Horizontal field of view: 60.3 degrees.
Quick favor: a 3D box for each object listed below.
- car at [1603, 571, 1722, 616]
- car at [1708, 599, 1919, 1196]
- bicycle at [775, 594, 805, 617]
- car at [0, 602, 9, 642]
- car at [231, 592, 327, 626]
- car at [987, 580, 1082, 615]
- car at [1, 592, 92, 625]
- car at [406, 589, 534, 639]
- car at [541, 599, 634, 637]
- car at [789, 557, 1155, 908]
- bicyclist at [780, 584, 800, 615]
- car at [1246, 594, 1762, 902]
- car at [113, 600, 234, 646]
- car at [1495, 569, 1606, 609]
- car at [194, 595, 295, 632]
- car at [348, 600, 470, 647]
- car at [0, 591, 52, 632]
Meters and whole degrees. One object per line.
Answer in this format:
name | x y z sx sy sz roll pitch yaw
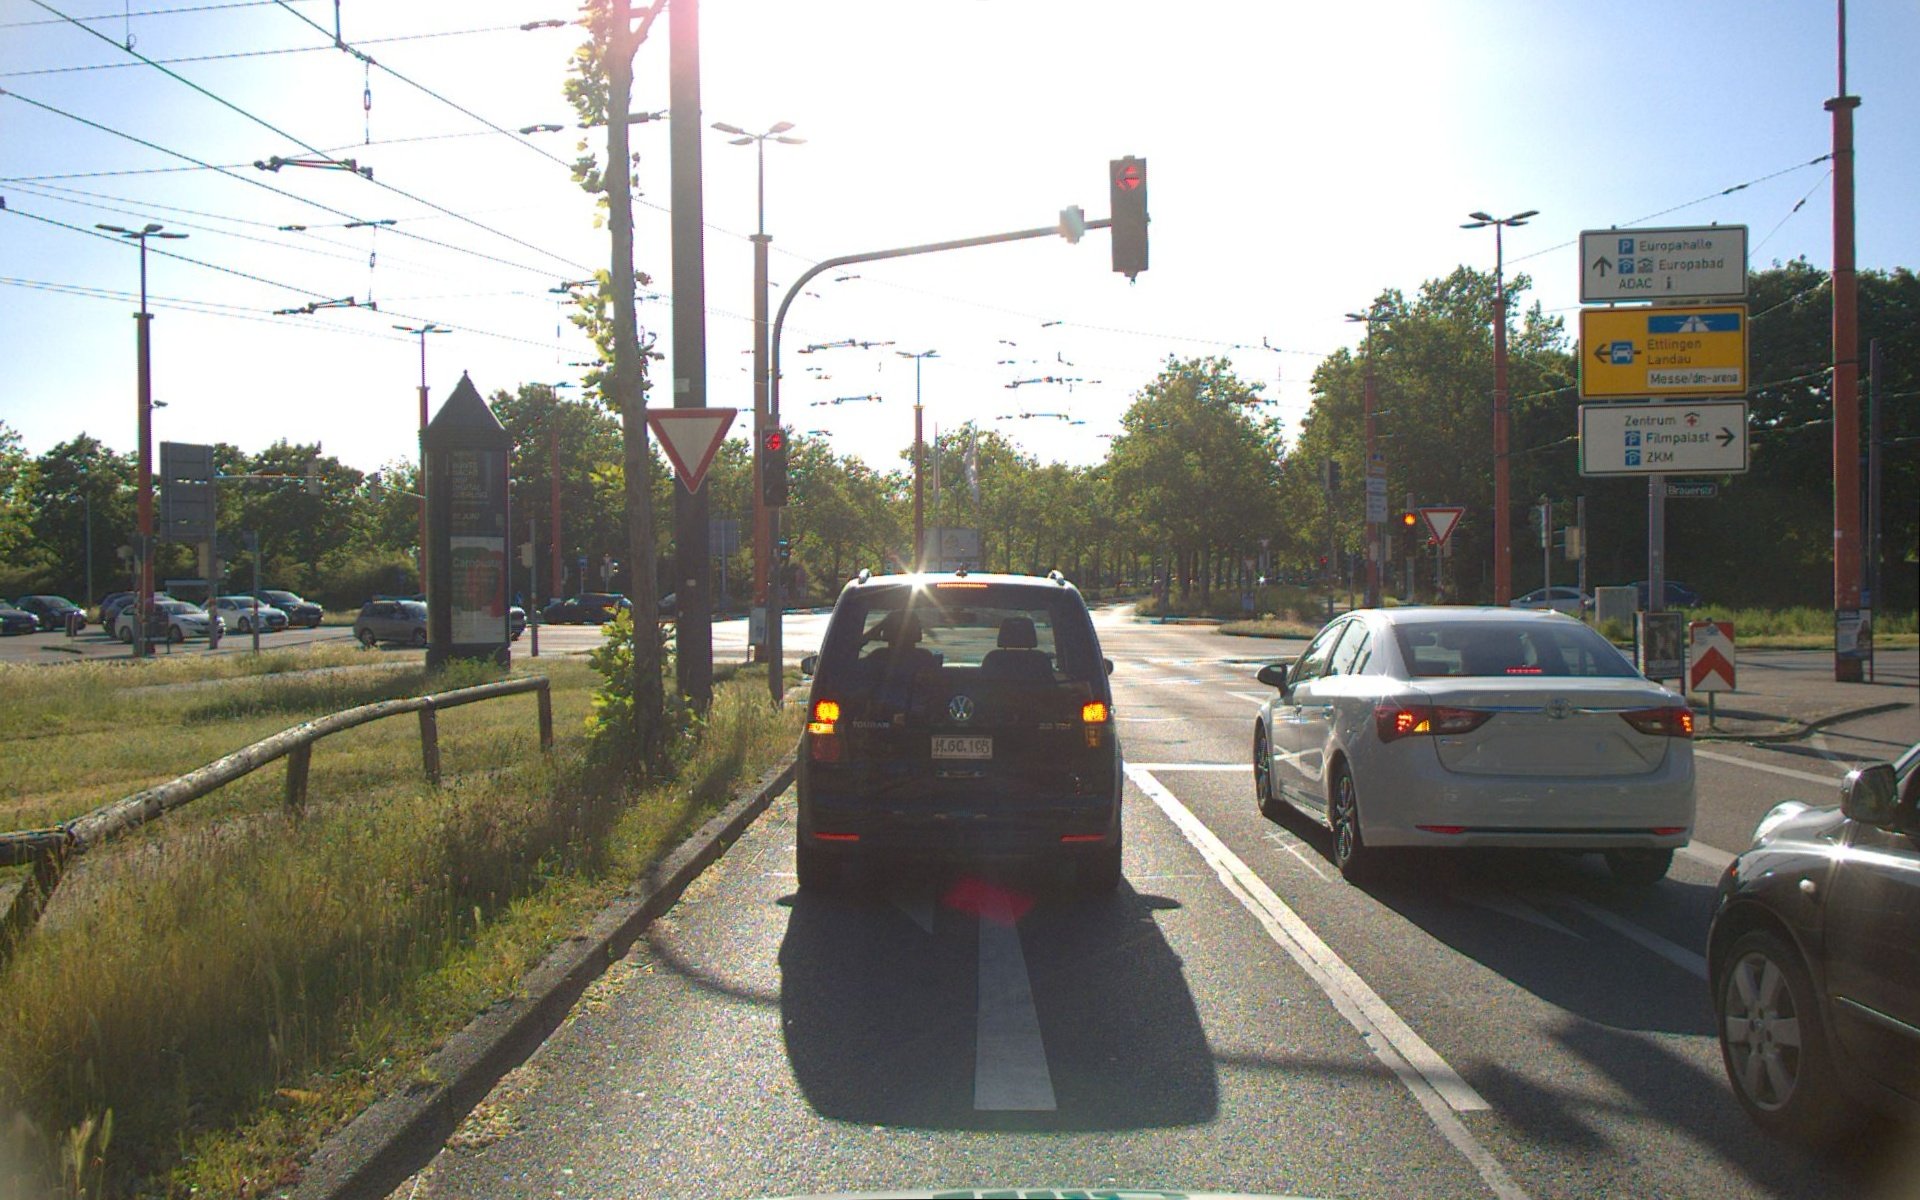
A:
car | 24.604 -0.246 57.924 3.718 1.537 1.654 0 0 28
car | 3.139 0.740 3.494 1.544 1.465 3.441 1 0 0
bicycle | -10.450 0.347 101.649 0.955 1.413 2.982 0 0 12
car | -39.527 0.845 65.243 4.107 1.546 1.654 0 0 30
car | -29.463 0.375 71.556 4.060 1.440 1.542 0 0 26
car | 3.246 -0.106 72.494 3.842 1.483 1.653 0 0 31
car | -40.866 0.373 74.002 4.060 1.440 1.542 0 0 26
car | -17.281 0.476 58.230 4.541 1.676 1.654 0 0 30
car | -17.485 0.831 77.624 4.119 1.710 1.656 0 0 25
car | 0.071 0.634 9.968 1.703 1.630 4.326 1 0 0
bicyclist | -10.443 -0.040 101.690 0.955 1.937 1.051 0 0 12
car | 3.018 0.727 10.190 1.762 1.465 4.326 1 0 0
car | -28.475 0.806 59.847 4.536 1.546 1.654 0 0 30
car | 22.430 -0.427 62.826 3.837 1.483 1.655 0 0 26
car | -29.400 0.534 67.933 4.060 1.440 1.542 0 0 26
car | -18.009 0.741 54.063 3.755 1.466 1.655 0 0 27
car | -40.946 0.472 70.600 4.541 1.676 1.753 0 0 30
